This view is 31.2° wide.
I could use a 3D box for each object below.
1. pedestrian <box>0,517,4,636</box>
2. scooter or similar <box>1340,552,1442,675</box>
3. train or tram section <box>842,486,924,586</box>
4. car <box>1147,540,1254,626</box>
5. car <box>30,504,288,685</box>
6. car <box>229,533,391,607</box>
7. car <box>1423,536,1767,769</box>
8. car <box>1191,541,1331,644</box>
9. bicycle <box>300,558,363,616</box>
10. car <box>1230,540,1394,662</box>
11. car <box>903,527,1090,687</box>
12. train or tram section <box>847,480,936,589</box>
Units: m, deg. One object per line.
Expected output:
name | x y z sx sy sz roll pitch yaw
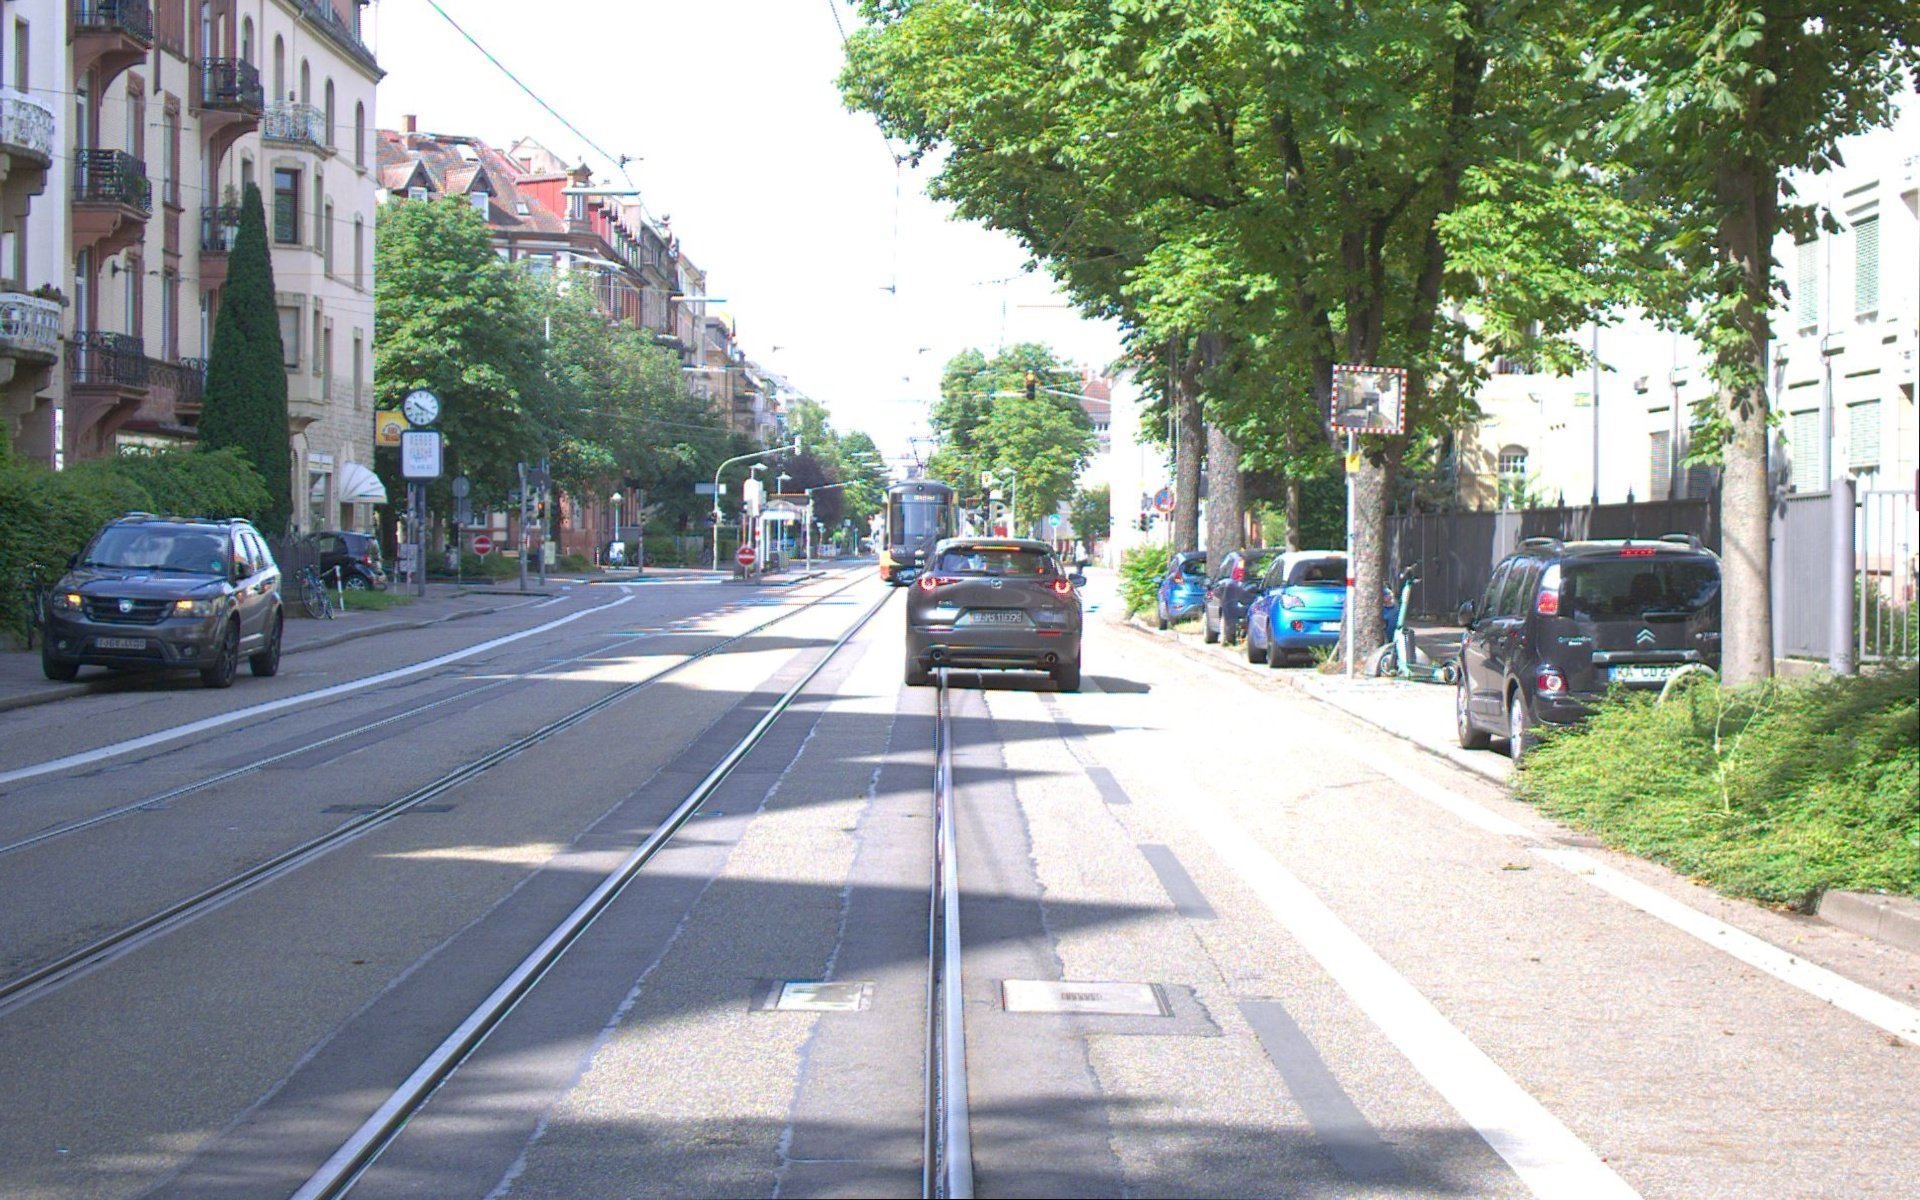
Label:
pedestrian | -10.071 -0.065 34.429 0.680 1.563 0.882 2 1 2
scooter or similar | 4.736 0.136 37.805 0.440 1.295 1.182 -4 3 -31
train or tram section | -2.851 -2.282 124.513 2.651 3.515 8.498 0 1 -3
car | 4.382 -0.341 63.030 1.624 1.491 3.848 -1 1 0
car | -8.282 -0.105 35.958 1.784 1.756 4.884 0 1 -3
car | -14.610 -0.676 77.344 3.237 1.508 1.678 2 1 3
car | 4.701 0.338 26.010 1.696 1.585 4.203 -1 1 -1
car | 4.574 -0.146 52.649 1.639 1.491 3.758 -1 1 -2
bicycle | -10.898 -0.218 59.689 0.511 0.956 1.814 3 -1 6
car | 4.539 -0.022 44.742 1.639 1.491 3.627 -1 1 -2
car | 0.327 0.022 36.262 1.789 1.507 4.351 2 2 -1
train or tram section | -2.362 -2.169 116.013 2.651 3.515 8.498 0 1 -3
